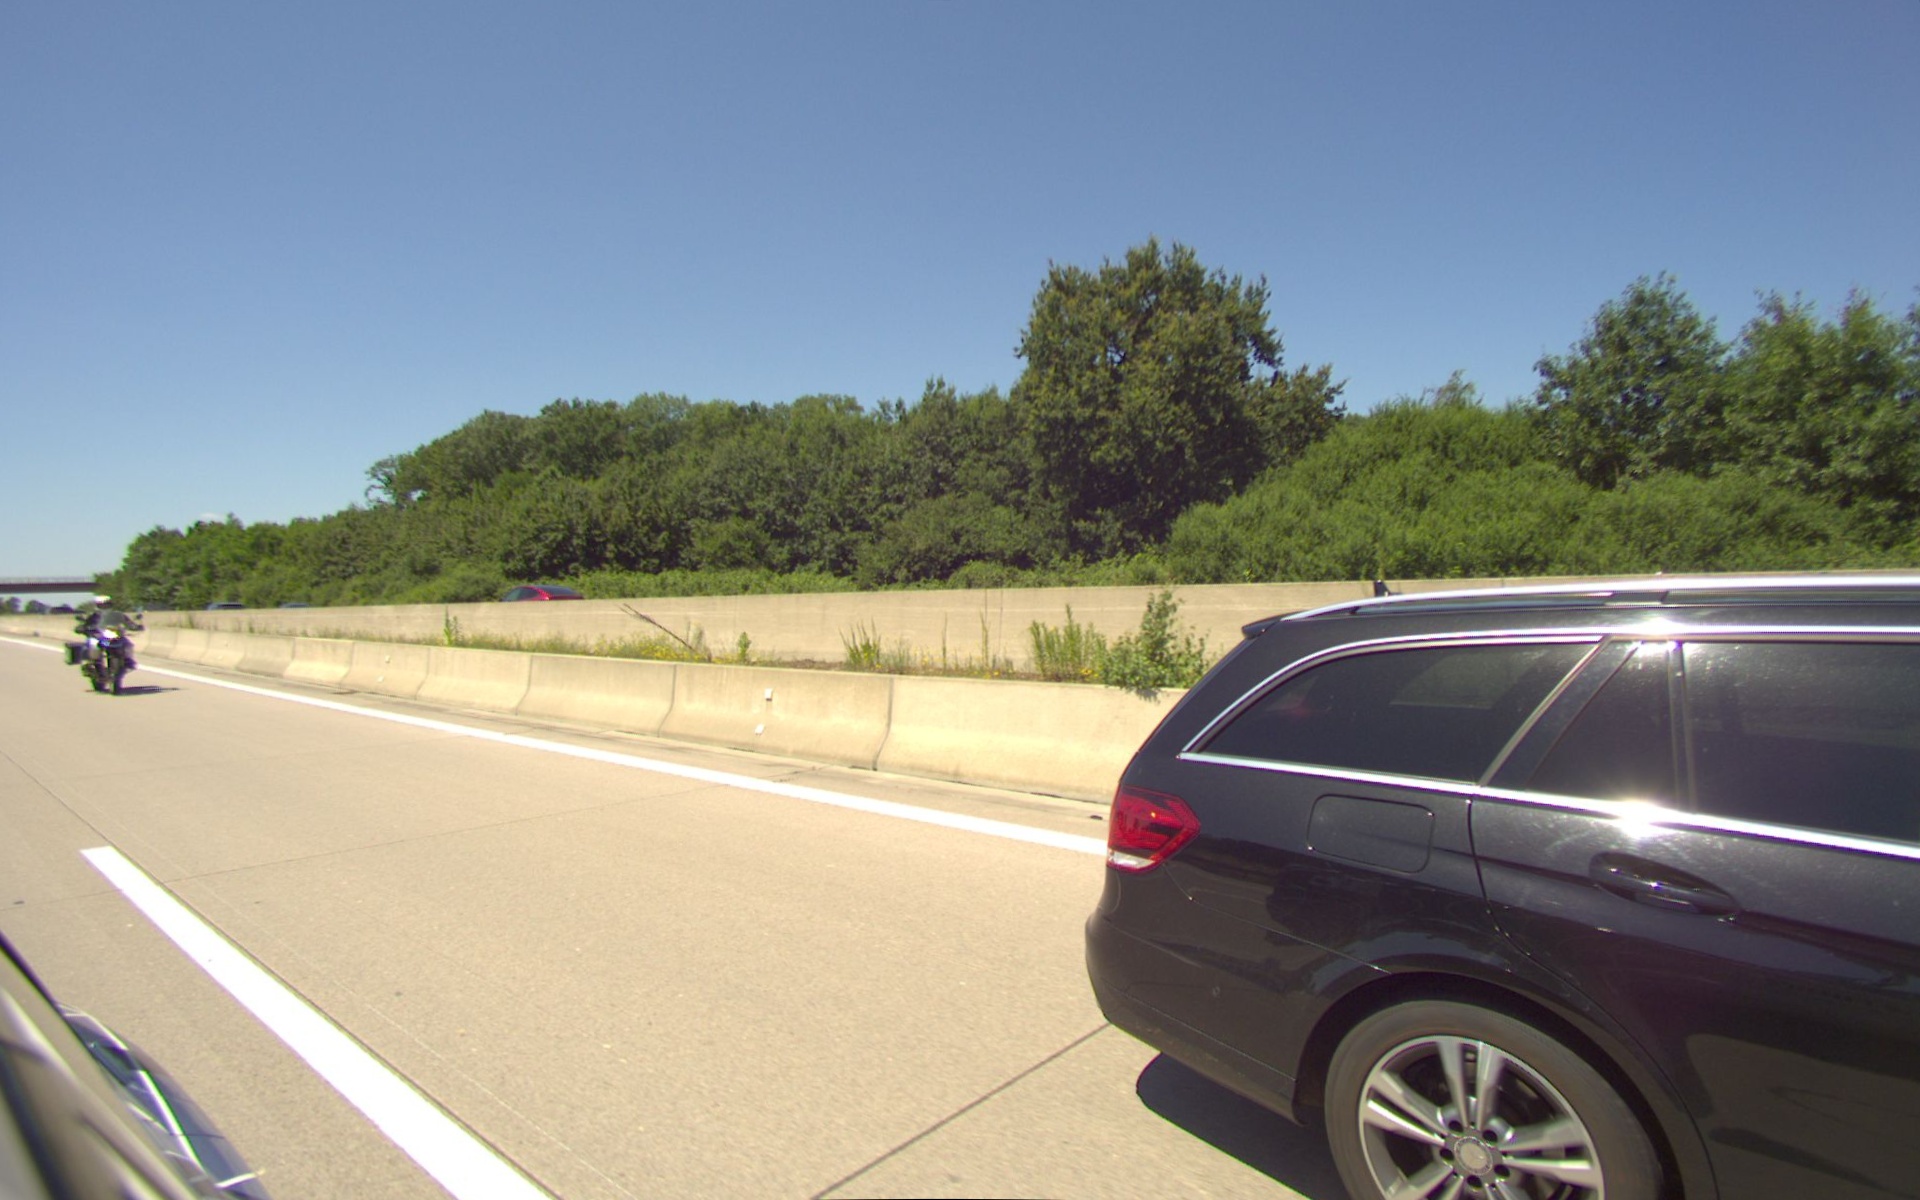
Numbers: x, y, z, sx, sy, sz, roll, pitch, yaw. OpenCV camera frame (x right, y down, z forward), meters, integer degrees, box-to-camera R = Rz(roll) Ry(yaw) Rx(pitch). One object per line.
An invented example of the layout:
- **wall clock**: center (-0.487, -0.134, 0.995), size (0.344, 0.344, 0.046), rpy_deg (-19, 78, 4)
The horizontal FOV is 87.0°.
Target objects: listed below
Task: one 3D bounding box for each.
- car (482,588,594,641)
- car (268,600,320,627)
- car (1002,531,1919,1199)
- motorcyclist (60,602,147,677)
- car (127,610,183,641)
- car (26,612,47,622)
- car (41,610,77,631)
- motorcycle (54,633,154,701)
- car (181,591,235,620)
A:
- **car**: center (-14.408, 0.489, 34.473), size (4.215, 1.683, 1.781), rpy_deg (-1, 1, 41)
- **car**: center (-42.938, 0.855, 65.258), size (4.087, 1.670, 1.686), rpy_deg (0, 2, 40)
- **car**: center (2.824, 0.617, 1.652), size (5.601, 1.484, 1.871), rpy_deg (-2, -2, 42)
- **motorcyclist**: center (-15.048, 0.684, 17.786), size (0.911, 1.218, 1.014), rpy_deg (-2, 1, 42)
- **car**: center (-46.804, 1.453, 58.784), size (4.403, 1.670, 1.686), rpy_deg (0, 2, 40)
- **car**: center (-134.790, 2.427, 147.685), size (3.999, 1.386, 1.907), rpy_deg (-1, 1, 42)
- **car**: center (-75.634, 1.717, 84.932), size (4.157, 1.670, 1.686), rpy_deg (-1, 0, 40)
- **motorcycle**: center (-15.122, 1.144, 17.855), size (2.412, 1.056, 1.010), rpy_deg (-2, 0, 42)
- **car**: center (-45.909, 0.366, 61.739), size (4.403, 1.670, 1.686), rpy_deg (-2, -1, 40)
